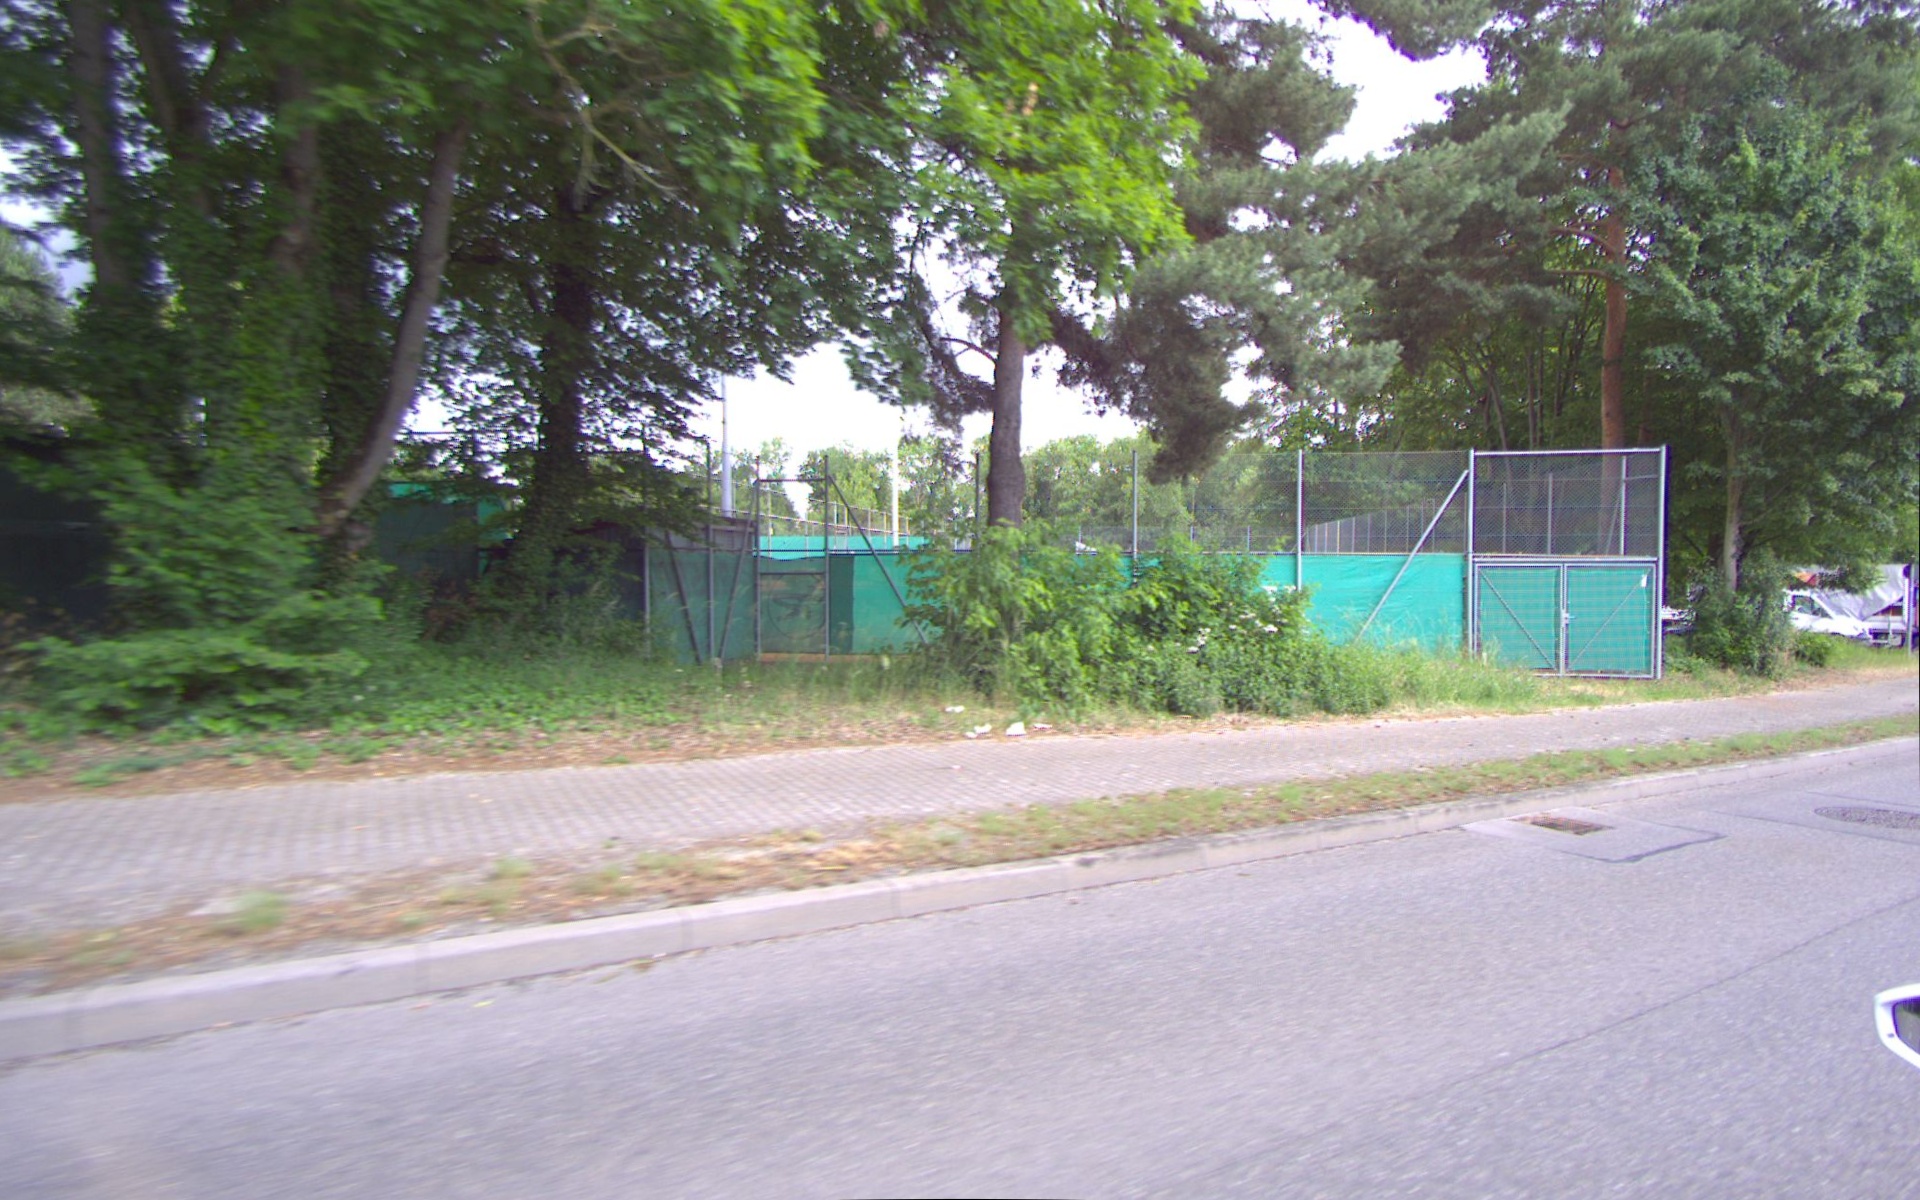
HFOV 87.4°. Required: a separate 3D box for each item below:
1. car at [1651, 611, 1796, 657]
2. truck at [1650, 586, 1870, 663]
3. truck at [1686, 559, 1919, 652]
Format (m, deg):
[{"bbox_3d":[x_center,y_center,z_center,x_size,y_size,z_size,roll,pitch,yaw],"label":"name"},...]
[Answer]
[{"bbox_3d":[26.706,1.180,35.289,3.934,1.344,1.712,3,-1,36],"label":"car"},{"bbox_3d":[30.274,0.857,38.245,6.312,2.448,2.113,4,1,41],"label":"truck"},{"bbox_3d":[36.082,0.175,41.859,9.131,3.578,2.550,2,0,44],"label":"truck"}]
